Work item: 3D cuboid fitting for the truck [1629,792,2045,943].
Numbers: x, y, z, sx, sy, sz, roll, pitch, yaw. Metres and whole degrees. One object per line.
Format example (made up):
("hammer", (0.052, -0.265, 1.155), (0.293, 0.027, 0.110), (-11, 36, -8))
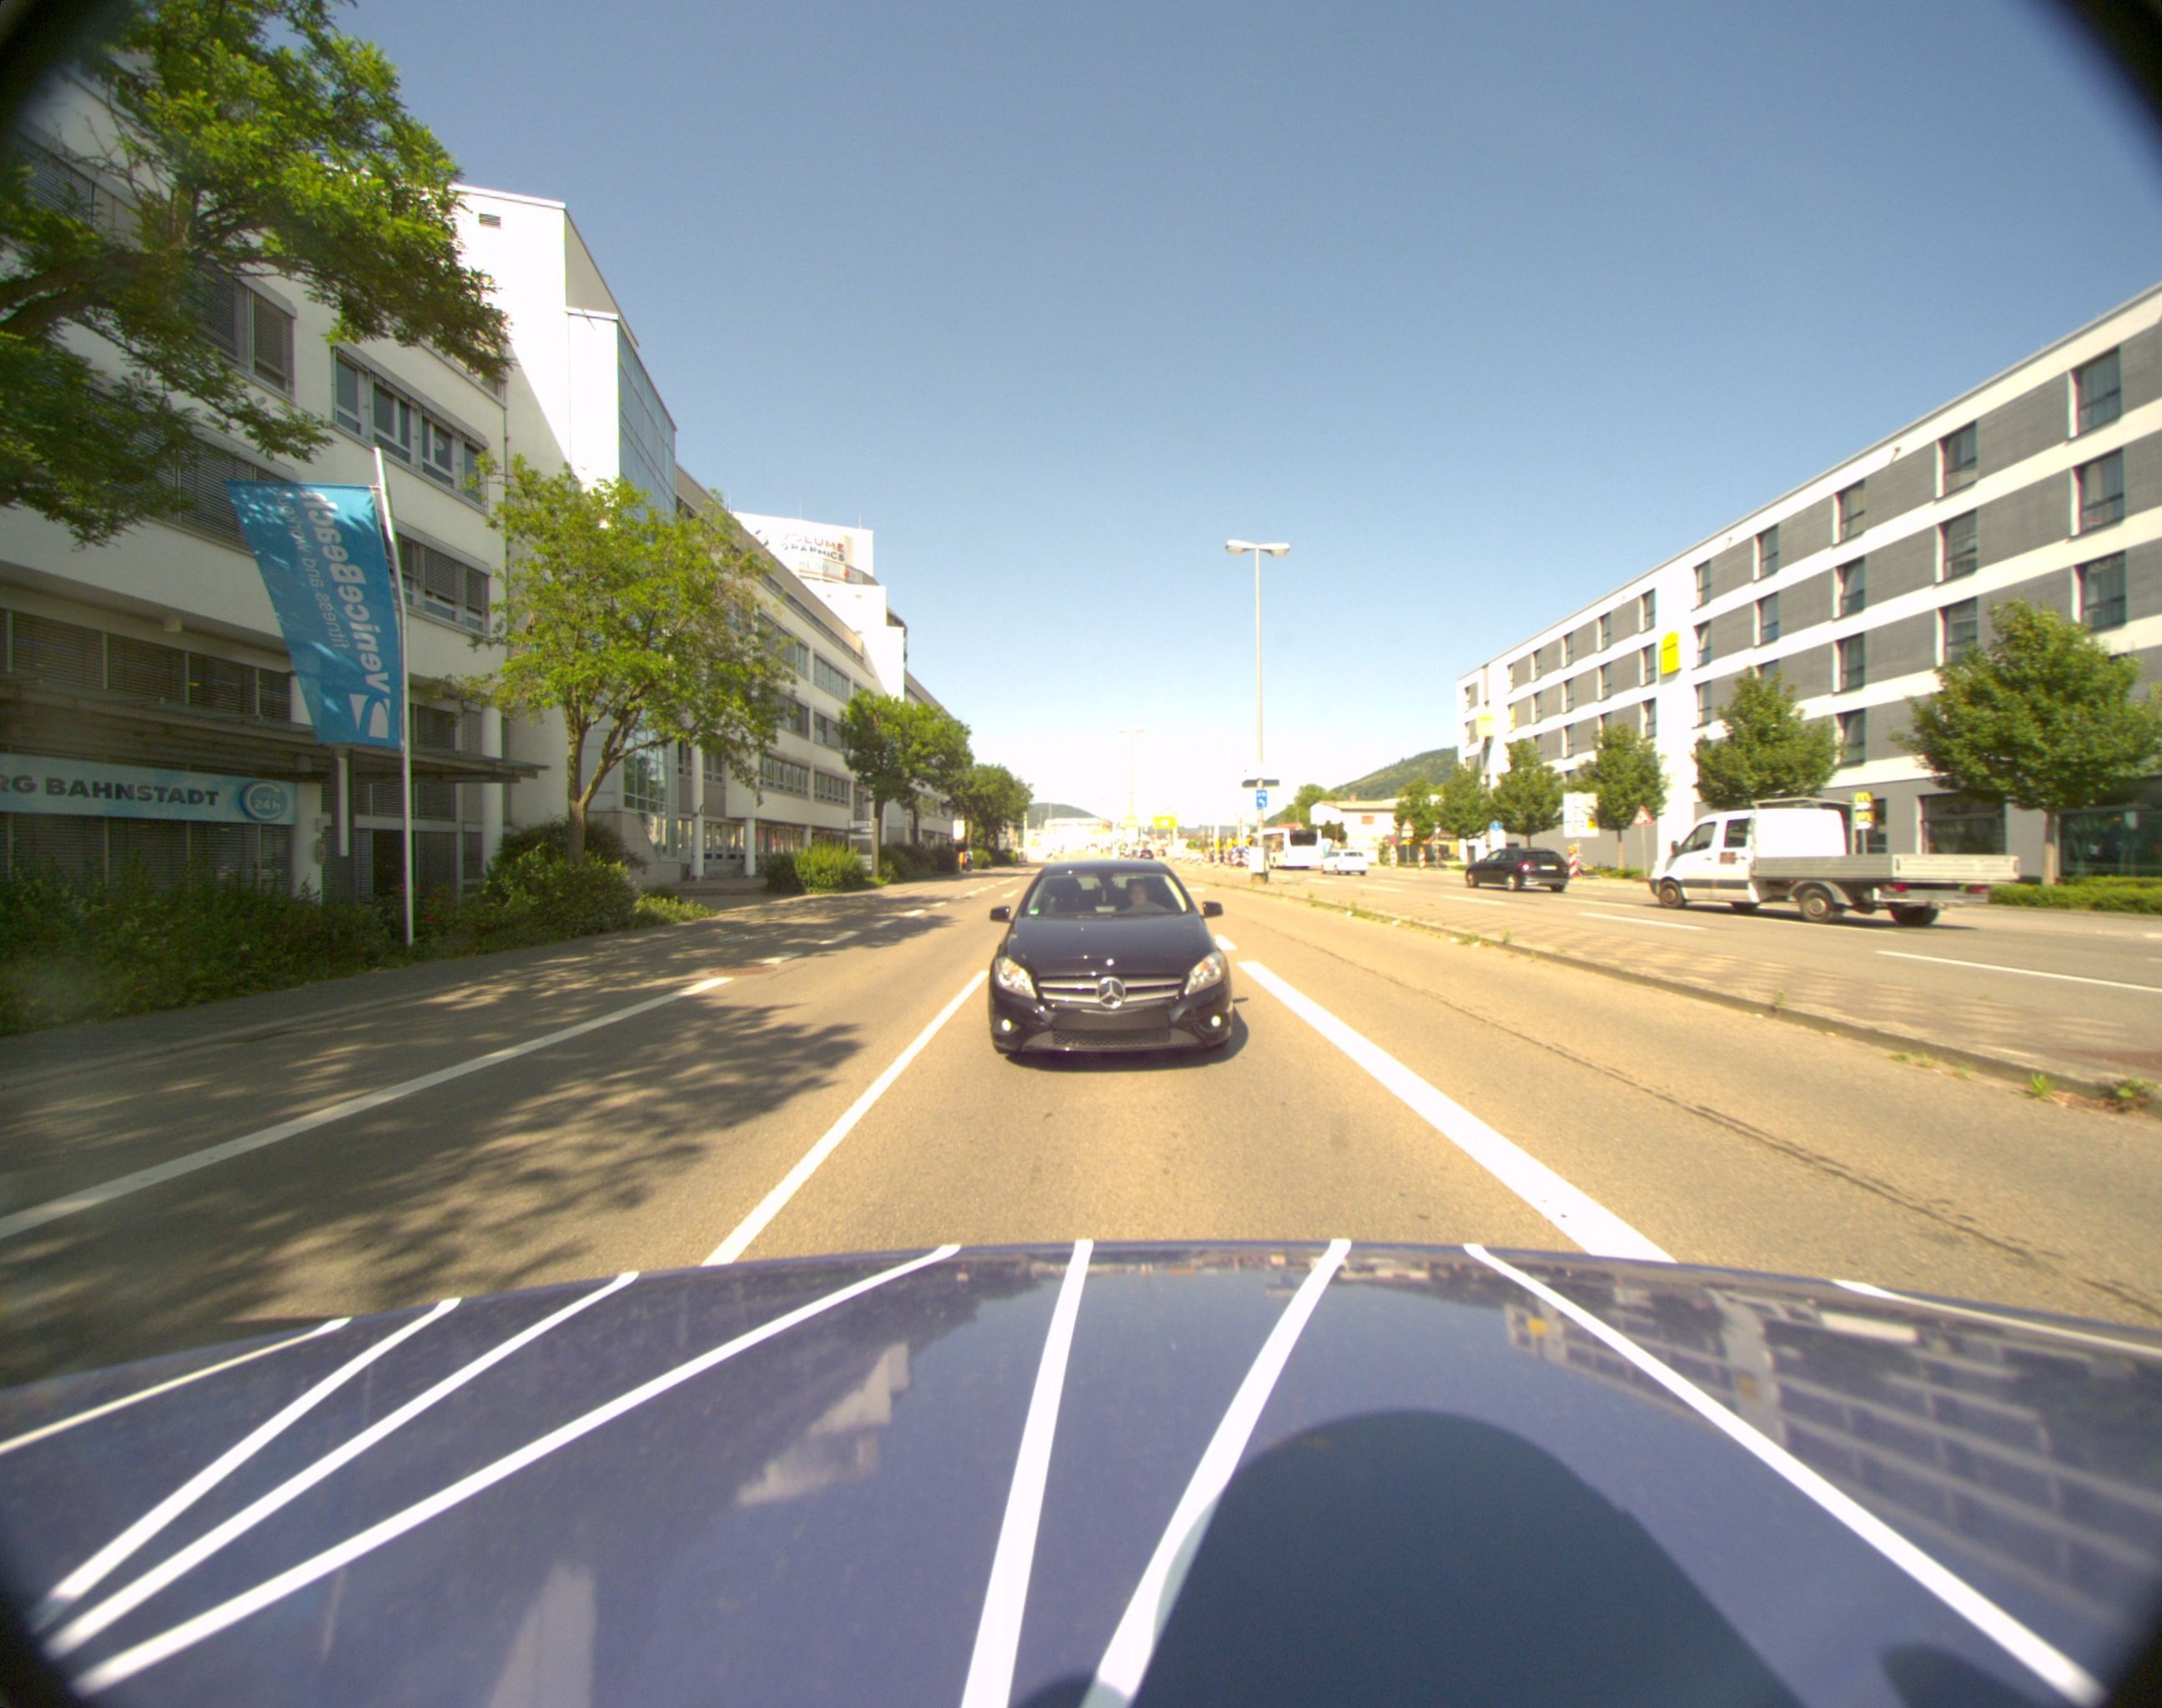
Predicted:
("truck", (15.199, 0.126, 16.183), (2.363, 2.531, 6.434), (1, 2, 1))

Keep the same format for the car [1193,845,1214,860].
("car", (16.750, -0.189, 104.177), (1.999, 2.002, 3.998), (2, 0, -4))

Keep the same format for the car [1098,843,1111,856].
("car", (4.218, -0.801, 134.801), (1.998, 2.002, 4.000), (-2, 1, 4))

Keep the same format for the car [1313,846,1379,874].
("car", (15.379, 0.327, 44.363), (1.999, 1.477, 4.410), (2, 1, -4))

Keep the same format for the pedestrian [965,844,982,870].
("pedestrian", (-7.921, 0.231, 56.113), (0.942, 1.876, 1.289), (2, 1, 2))

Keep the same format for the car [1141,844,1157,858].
("car", (8.373, -0.413, 94.225), (1.889, 1.608, 4.135), (-1, 1, 4))

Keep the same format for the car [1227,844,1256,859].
("car", (16.343, -0.253, 77.738), (1.998, 1.424, 4.891), (-1, 1, 1))

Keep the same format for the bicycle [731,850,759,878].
("bicycle", (-16.836, 0.483, 38.137), (0.506, 1.346, 1.884), (-1, 1, 2))

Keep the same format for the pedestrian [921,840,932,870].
("pedestrian", (-13.007, 0.055, 64.135), (0.717, 2.534, 0.716), (-1, 1, 0))

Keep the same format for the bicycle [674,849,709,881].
("bicycle", (-17.278, 0.475, 33.748), (0.506, 1.346, 1.884), (-1, 1, 2))

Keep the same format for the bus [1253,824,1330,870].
("bus", (15.744, -0.550, 57.927), (2.745, 3.061, 11.974), (1, 1, 1))

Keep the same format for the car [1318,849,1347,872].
("car", (14.819, 0.374, 44.828), (1.058, 1.200, 2.220), (-2, 1, 3))

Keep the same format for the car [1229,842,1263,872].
("car", (12.028, 0.174, 55.566), (1.679, 2.002, 4.164), (-2, 1, 2))

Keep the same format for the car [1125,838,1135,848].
("car", (10.589, -2.422, 164.325), (1.998, 2.002, 3.999), (-2, 1, 2))

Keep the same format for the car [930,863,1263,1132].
("car", (0.166, 0.865, 6.749), (1.905, 1.431, 4.693), (-1, 1, 2))

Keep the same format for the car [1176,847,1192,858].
("car", (16.081, -0.291, 118.651), (1.719, 1.609, 3.590), (-1, 1, -4))

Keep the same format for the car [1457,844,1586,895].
("car", (15.551, 0.469, 27.139), (1.999, 1.569, 4.411), (-1, 1, -1))

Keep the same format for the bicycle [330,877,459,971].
("bicycle", (-11.005, 1.073, 12.267), (0.506, 1.321, 1.883), (-1, 0, -6))
